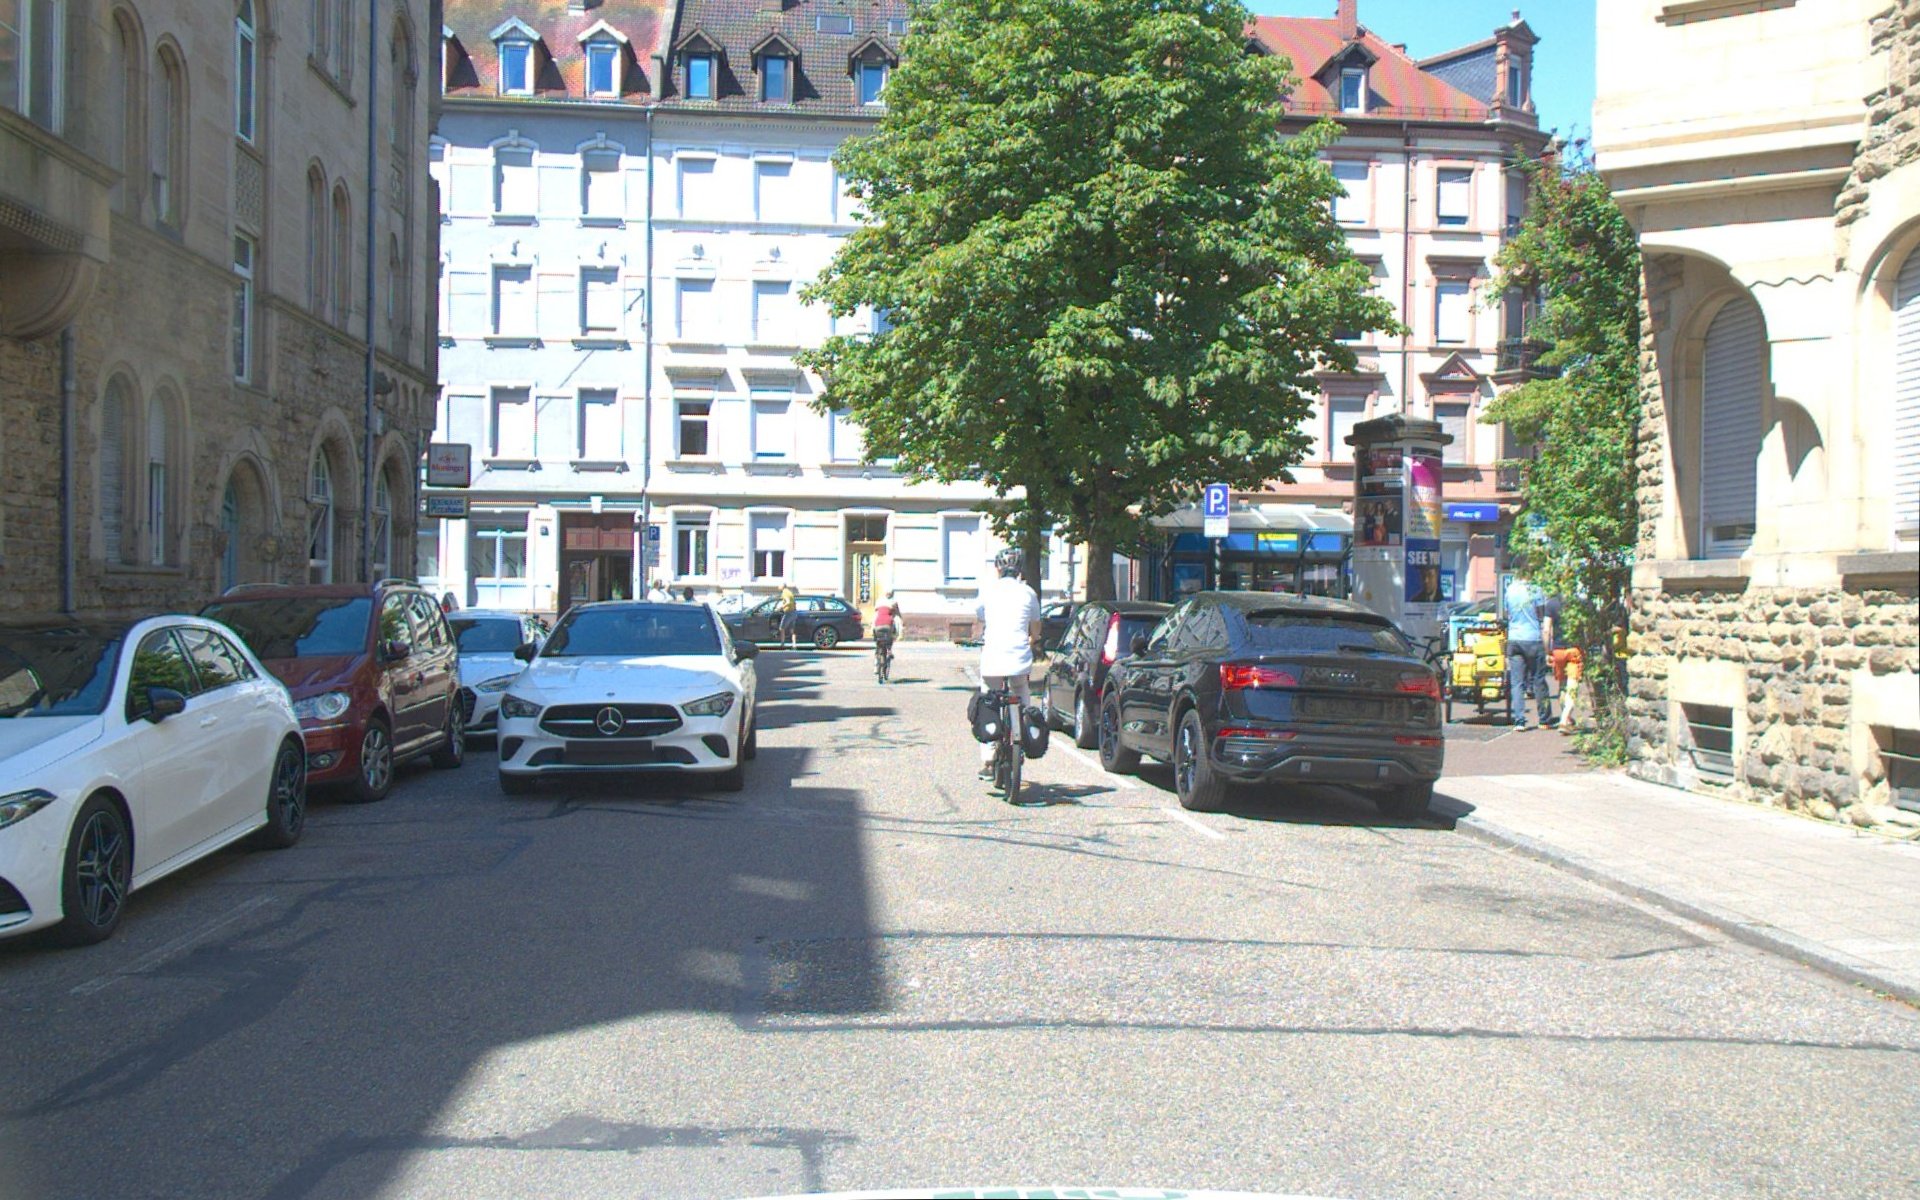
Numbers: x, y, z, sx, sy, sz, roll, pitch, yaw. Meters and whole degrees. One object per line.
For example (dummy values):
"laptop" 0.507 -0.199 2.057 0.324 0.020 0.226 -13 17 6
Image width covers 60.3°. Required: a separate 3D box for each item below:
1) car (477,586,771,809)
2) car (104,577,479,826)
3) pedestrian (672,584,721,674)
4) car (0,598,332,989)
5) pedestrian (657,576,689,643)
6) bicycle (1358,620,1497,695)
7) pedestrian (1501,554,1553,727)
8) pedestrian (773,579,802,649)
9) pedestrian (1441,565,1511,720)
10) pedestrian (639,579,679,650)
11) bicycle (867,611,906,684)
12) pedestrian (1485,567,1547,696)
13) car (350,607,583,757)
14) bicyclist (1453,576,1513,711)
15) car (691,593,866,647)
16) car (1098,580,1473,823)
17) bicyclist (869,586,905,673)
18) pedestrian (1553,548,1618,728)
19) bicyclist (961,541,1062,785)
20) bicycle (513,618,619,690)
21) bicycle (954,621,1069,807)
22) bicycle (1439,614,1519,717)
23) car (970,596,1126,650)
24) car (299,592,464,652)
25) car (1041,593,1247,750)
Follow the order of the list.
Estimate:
"car" -2.582 0.672 13.695 1.805 1.486 4.358 -2 0 -4
"car" -5.071 0.674 13.131 1.640 1.610 4.048 -2 0 -6
"pedestrian" -5.020 0.541 31.550 0.840 1.701 0.773 0 0 -4
"car" -4.674 0.762 8.339 1.742 1.485 4.273 -2 0 -6
"pedestrian" -8.038 0.255 46.362 0.884 1.846 0.958 0 0 -9
"bicycle" 6.871 0.837 24.337 1.862 1.057 0.633 0 0 -4
"pedestrian" 6.344 0.443 18.513 0.507 1.901 0.654 0 0 16
"pedestrian" -4.687 0.375 44.945 0.712 1.886 0.682 0 0 -14
"pedestrian" 6.045 0.489 19.397 0.625 1.782 0.614 0 0 -1
"pedestrian" -8.259 0.398 45.382 0.832 1.922 0.936 0 0 6
"bicycle" -1.336 0.836 30.019 0.639 1.230 2.440 2 0 -3
"pedestrian" 8.028 0.441 23.877 0.743 1.825 0.574 0 0 -43
"car" -5.306 0.798 18.336 1.669 1.376 4.509 -2 0 -7
"bicyclist" 6.670 0.544 21.093 0.664 1.676 0.661 0 0 24
"car" -5.020 0.537 46.238 4.764 1.462 1.998 0 0 -5
"car" 2.451 0.700 13.617 1.703 1.624 4.341 2 0 -7
"bicyclist" -1.330 0.530 30.057 0.657 1.560 0.609 0 0 -3
"pedestrian" 6.845 0.403 18.124 0.586 1.913 0.883 0 0 16
"bicyclist" 0.386 0.468 12.609 0.657 1.791 0.609 2 0 -3
"bicycle" -5.993 0.825 25.223 1.496 1.025 0.366 3 -1 -9
"bicycle" 0.360 0.820 12.870 0.639 1.250 2.440 2 0 -3
"bicycle" 6.625 0.791 21.044 0.777 1.189 2.578 0 0 22
"car" 2.456 0.637 46.746 4.210 1.394 1.806 0 3 -5
"car" -15.834 0.579 45.430 3.968 1.589 1.805 0 0 -6
"car" 2.031 0.741 19.365 1.630 1.567 4.174 2 0 -4
